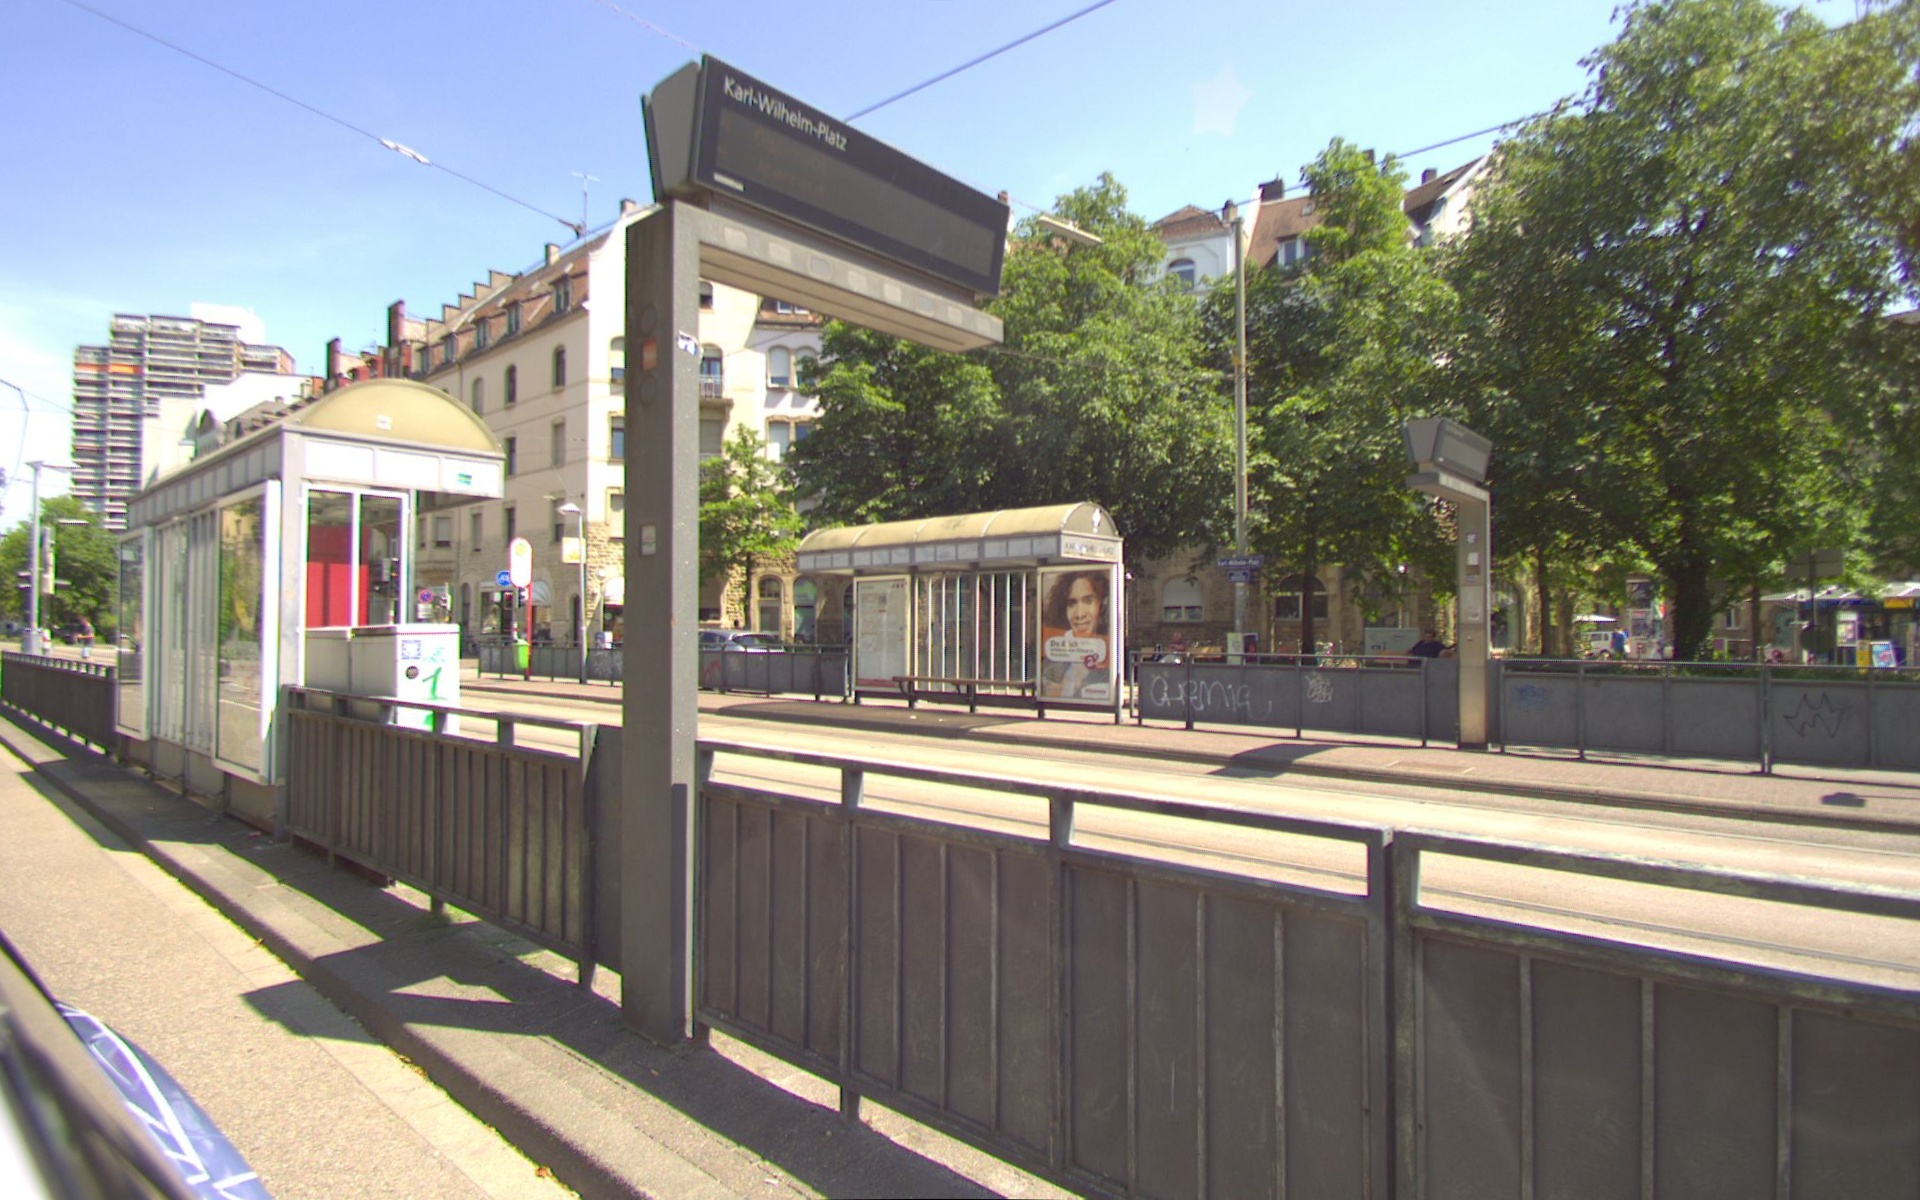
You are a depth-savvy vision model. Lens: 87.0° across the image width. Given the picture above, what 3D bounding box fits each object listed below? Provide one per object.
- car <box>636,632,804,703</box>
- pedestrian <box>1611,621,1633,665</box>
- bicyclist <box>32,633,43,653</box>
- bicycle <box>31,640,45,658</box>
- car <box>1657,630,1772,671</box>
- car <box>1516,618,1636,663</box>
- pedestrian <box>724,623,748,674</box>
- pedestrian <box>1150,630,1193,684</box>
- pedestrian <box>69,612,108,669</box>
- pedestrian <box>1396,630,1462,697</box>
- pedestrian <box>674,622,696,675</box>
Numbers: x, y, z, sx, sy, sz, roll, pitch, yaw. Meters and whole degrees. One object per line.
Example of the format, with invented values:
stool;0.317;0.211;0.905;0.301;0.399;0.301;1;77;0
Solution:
car;-5.598;1.489;23.352;3.998;1.404;1.789;-1;0;41
pedestrian;25.889;1.675;39.560;0.483;1.683;0.517;1;-2;-27
bicyclist;-84.969;3.956;93.219;0.715;1.889;0.636;-1;0;39
bicycle;-84.962;4.495;93.228;1.969;1.524;0.636;-1;0;39
car;35.788;2.347;48.092;1.736;1.721;3.998;-1;0;-33
car;26.719;1.703;44.000;1.966;1.803;4.011;-1;0;-33
pedestrian;-7.060;1.520;31.887;0.473;1.563;0.586;-2;-3;39
pedestrian;5.093;1.355;24.306;0.930;1.253;0.860;-1;0;17
pedestrian;-28.542;1.312;33.154;0.673;1.838;0.828;-2;-3;38
pedestrian;9.282;1.238;20.031;0.852;1.253;0.939;-1;0;-43
pedestrian;-8.799;1.547;32.386;0.584;1.659;0.475;1;-2;-31
